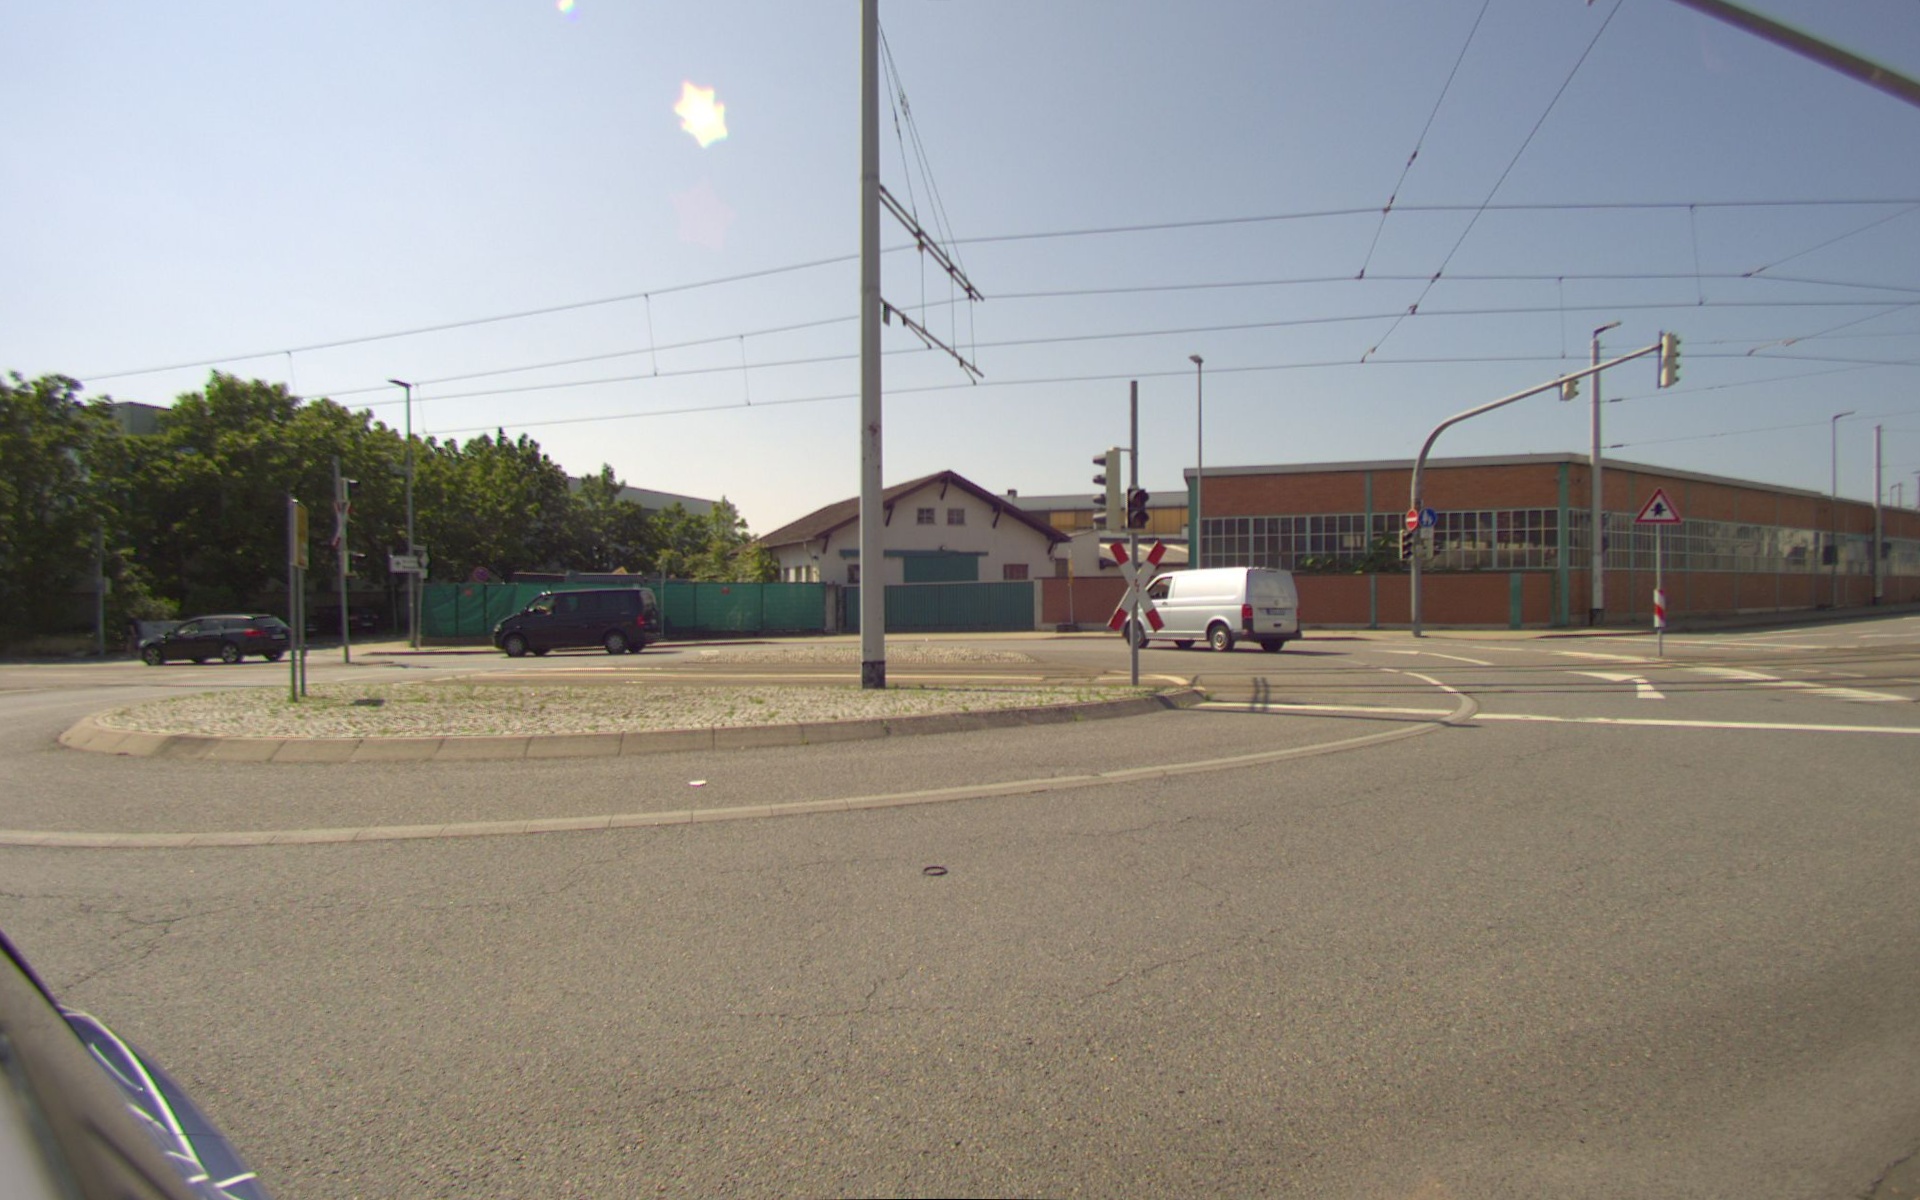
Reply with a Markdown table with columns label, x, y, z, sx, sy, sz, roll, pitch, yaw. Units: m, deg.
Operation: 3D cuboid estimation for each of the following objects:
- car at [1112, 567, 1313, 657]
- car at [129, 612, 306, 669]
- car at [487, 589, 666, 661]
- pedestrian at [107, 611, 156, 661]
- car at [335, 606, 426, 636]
| label | x | y | z | sx | sy | sz | roll | pitch | yaw |
| --- | --- | --- | --- | --- | --- | --- | --- | --- | --- |
| car | 5.951 | 0.247 | 24.493 | 1.900 | 1.950 | 4.844 | -1 | 0 | -29 |
| car | -23.033 | 1.234 | 31.468 | 4.189 | 1.568 | 1.966 | -2 | -1 | 6 |
| car | -11.434 | 0.726 | 30.406 | 4.573 | 1.925 | 2.098 | -2 | -1 | 0 |
| pedestrian | -30.714 | 1.319 | 37.527 | 1.149 | 1.682 | 0.884 | 4 | 4 | 15 |
| car | -30.271 | 1.090 | 52.936 | 3.806 | 1.478 | 1.628 | -1 | -1 | -7 |
